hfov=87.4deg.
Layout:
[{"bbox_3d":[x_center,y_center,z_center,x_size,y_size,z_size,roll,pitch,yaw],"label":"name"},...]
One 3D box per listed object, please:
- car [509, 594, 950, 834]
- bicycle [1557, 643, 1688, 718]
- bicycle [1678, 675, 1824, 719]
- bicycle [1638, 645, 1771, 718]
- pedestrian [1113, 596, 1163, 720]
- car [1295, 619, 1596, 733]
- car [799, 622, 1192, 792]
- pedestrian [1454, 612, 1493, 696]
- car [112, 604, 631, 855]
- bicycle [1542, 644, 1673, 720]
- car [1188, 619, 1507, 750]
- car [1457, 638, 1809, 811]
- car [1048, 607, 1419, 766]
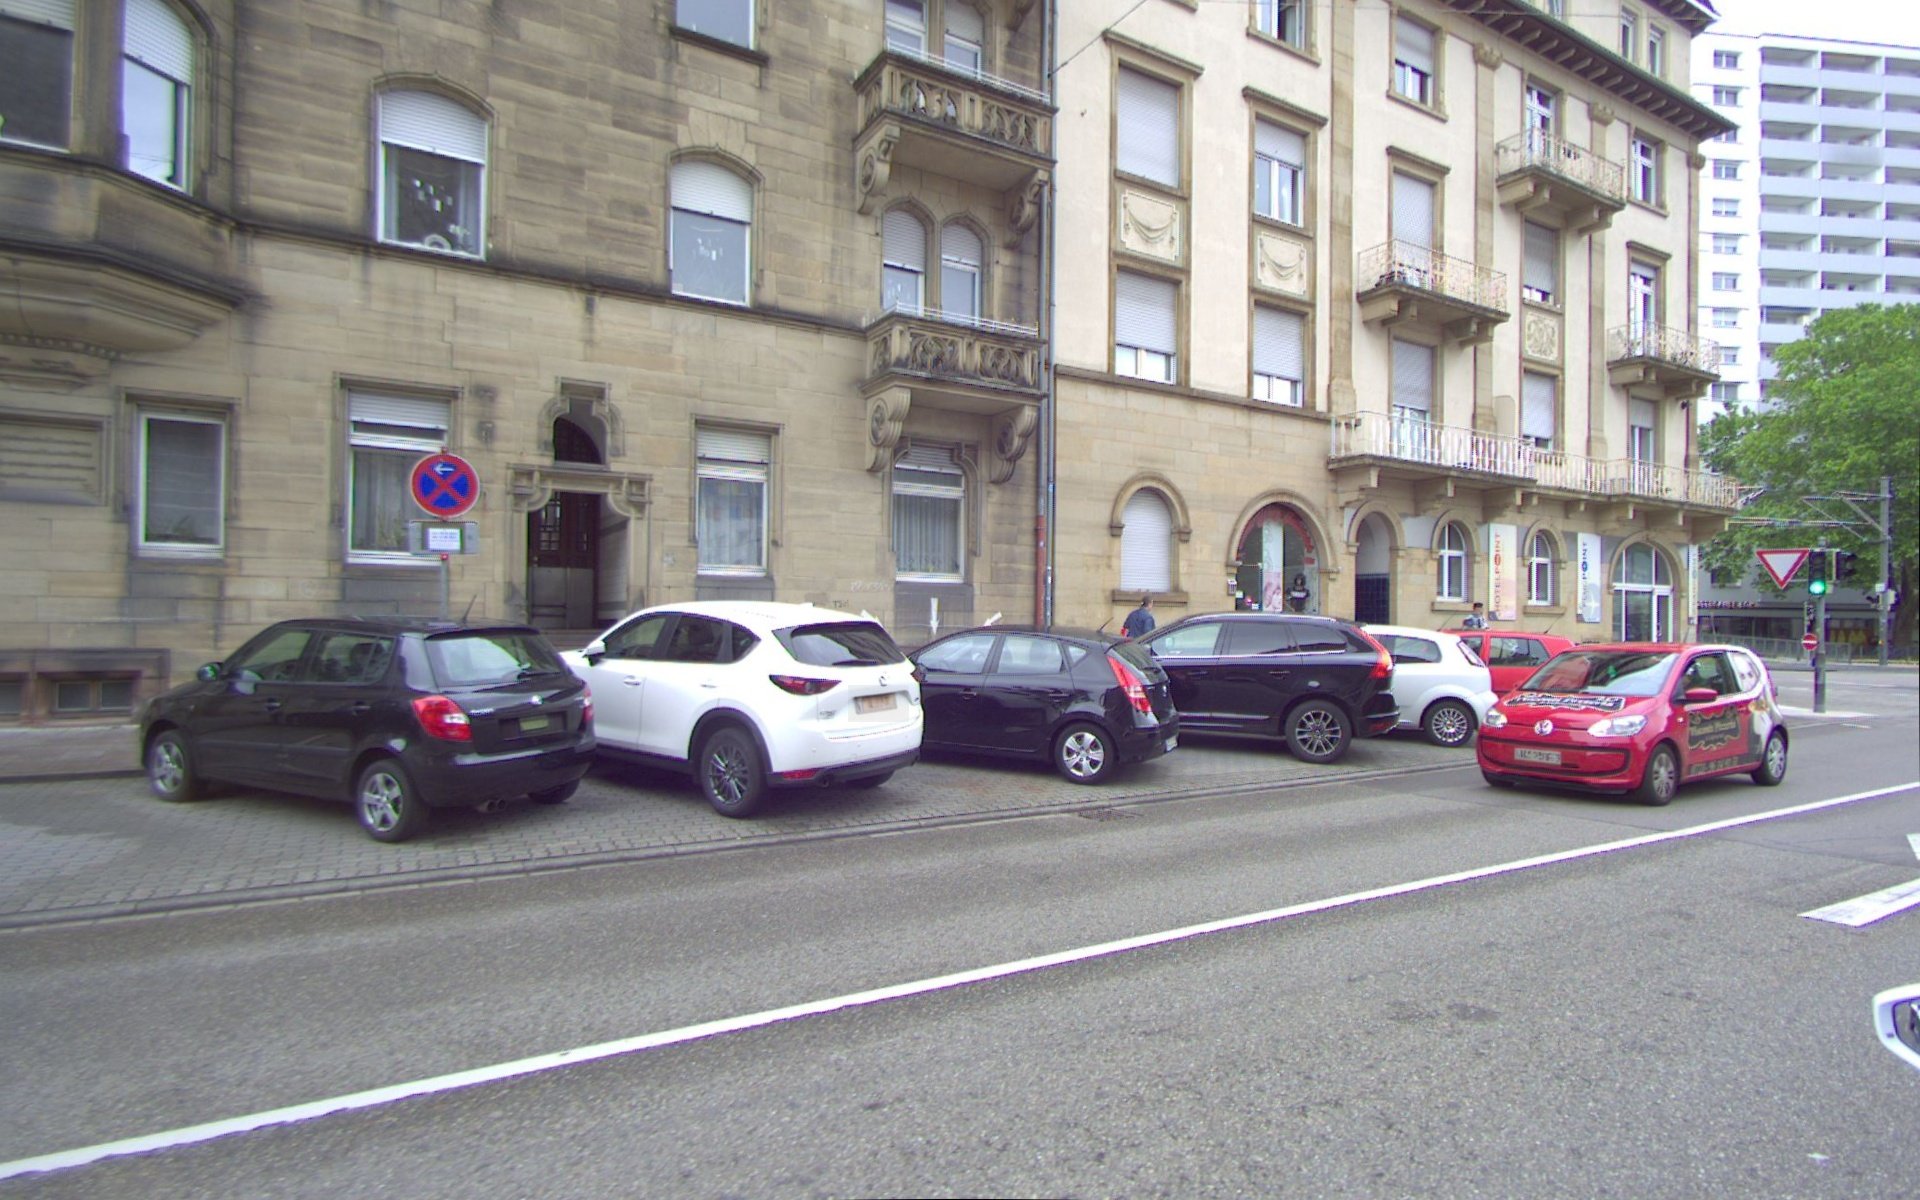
[{"bbox_3d":[-2.217,0.852,9.277,3.935,1.746,1.834,0,-1,36],"label":"car"},{"bbox_3d":[11.784,1.403,17.940,0.437,1.050,1.876,1,4,-31],"label":"bicycle"},{"bbox_3d":[14.641,1.785,18.640,1.017,0.451,1.876,0,5,-31],"label":"bicycle"},{"bbox_3d":[13.600,1.468,18.414,0.437,1.050,1.876,1,4,-31],"label":"bicycle"},{"bbox_3d":[2.923,0.934,16.507,0.544,1.984,0.616,1,-1,-28],"label":"pedestrian"},{"bbox_3d":[7.442,1.126,15.782,3.919,1.492,1.685,1,1,12],"label":"car"},{"bbox_3d":[0.393,1.039,11.010,3.923,1.514,1.731,1,-1,24],"label":"car"},{"bbox_3d":[11.274,1.174,22.048,0.544,1.809,0.564,1,-1,-28],"label":"pedestrian"},{"bbox_3d":[-4.670,0.866,7.983,3.738,1.517,1.569,2,0,22],"label":"car"},{"bbox_3d":[11.334,1.409,17.660,0.437,1.050,1.876,1,4,-31],"label":"bicycle"},{"bbox_3d":[5.295,1.094,14.097,3.920,1.492,1.565,2,0,18],"label":"car"},{"bbox_3d":[6.899,1.133,10.261,3.469,1.466,1.641,1,-2,-30],"label":"car"},{"bbox_3d":[3.328,0.970,12.502,4.141,1.673,1.732,1,-1,18],"label":"car"}]
